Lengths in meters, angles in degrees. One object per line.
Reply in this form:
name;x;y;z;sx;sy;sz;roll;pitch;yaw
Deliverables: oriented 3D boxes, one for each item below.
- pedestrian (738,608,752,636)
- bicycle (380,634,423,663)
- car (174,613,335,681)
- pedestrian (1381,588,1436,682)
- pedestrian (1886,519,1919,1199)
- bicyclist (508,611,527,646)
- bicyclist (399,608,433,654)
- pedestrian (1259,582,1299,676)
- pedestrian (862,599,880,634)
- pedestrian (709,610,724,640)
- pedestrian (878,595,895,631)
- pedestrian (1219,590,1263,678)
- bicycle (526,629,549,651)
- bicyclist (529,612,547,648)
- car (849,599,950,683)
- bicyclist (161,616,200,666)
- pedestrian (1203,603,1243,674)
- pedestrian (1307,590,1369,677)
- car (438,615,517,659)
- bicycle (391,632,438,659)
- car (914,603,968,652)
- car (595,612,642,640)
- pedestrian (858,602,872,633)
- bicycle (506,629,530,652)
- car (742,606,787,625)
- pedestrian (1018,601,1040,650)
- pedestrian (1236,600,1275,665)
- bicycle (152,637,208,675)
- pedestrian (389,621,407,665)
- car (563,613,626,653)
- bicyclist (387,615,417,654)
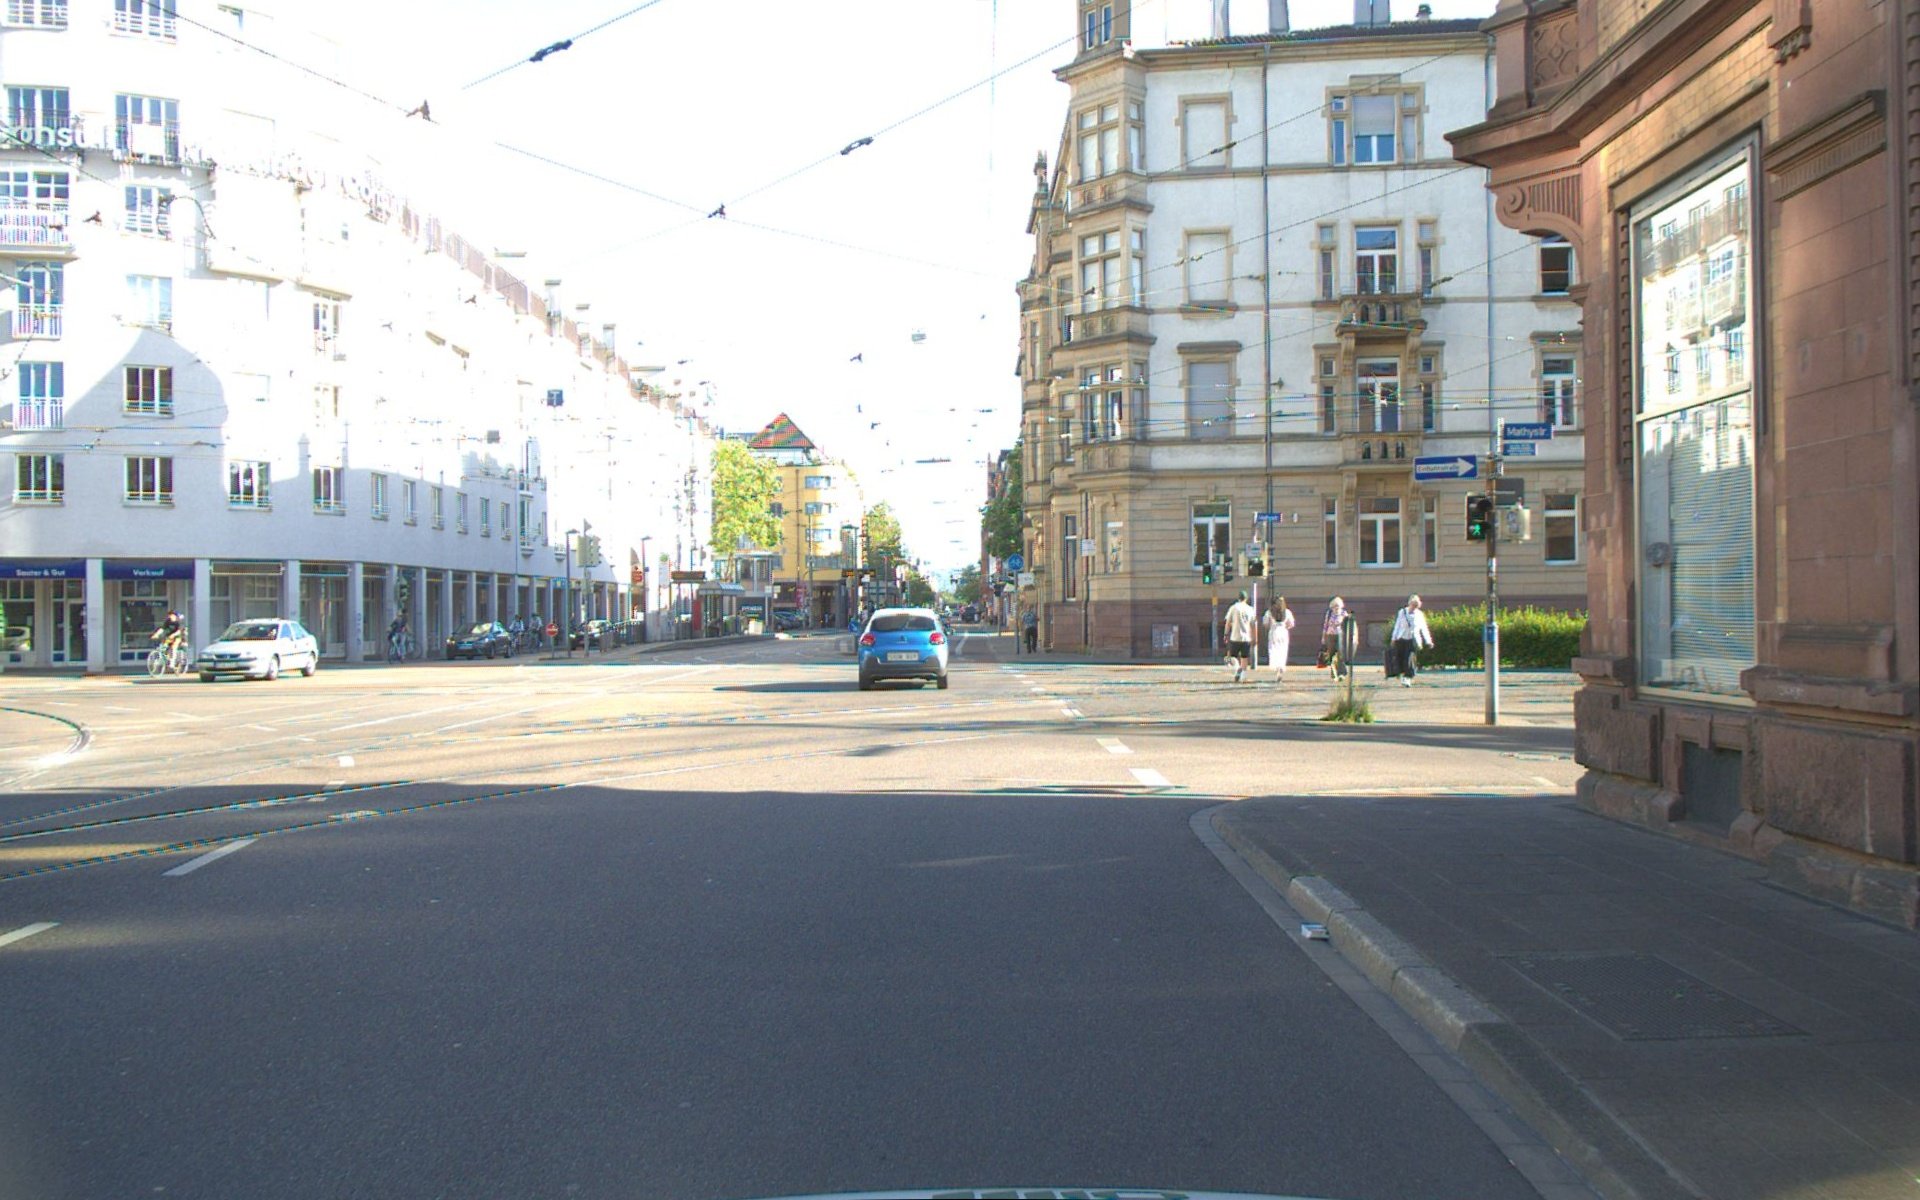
pedestrian;-12.215;1.262;93.968;0.716;1.586;0.743;0;0;-1
bicycle;-19.261;1.675;57.115;0.581;0.989;1.856;-1;-1;10
car;-16.952;1.089;40.006;1.953;1.477;4.649;-1;0;-1
pedestrian;8.135;0.641;30.004;0.903;1.661;1.010;-1;-2;15
pedestrian;2.651;0.620;3.705;0.669;1.635;0.728;-1;-1;-14
bicyclist;-19.348;1.268;72.328;0.576;1.514;0.927;-1;-2;-2
bicyclist;-20.991;1.188;63.805;0.708;1.725;1.028;-1;-1;28
pedestrian;6.132;0.555;31.778;0.630;1.776;0.705;0;-2;22
pedestrian;-4.644;0.865;86.092;0.705;1.808;0.563;-1;-1;36
pedestrian;-13.054;1.339;88.700;0.716;1.554;0.743;0;0;-1
pedestrian;-3.606;0.647;81.084;0.623;1.727;0.934;1;-2;8
pedestrian;5.431;0.660;31.911;0.686;1.684;0.632;-2;-2;22
bicycle;-19.450;1.827;76.215;0.582;0.989;2.046;-1;-1;-2
bicyclist;-19.428;1.376;76.133;0.576;1.613;0.895;-1;-2;-2
car;-1.102;0.747;31.608;1.744;1.476;3.654;1;0;0
bicyclist;-20.735;1.085;44.013;0.576;1.308;0.927;-1;-2;1
pedestrian;6.261;0.917;39.449;0.902;1.661;0.942;-1;-2;9
pedestrian;7.405;0.657;32.393;0.905;1.661;0.939;-2;-2;32
car;-18.439;1.421;63.396;1.953;1.624;3.998;-1;-1;-2
bicycle;-20.995;1.743;63.629;0.663;0.997;1.759;-1;-1;27
car;-0.686;1.076;63.681;1.952;1.773;4.000;1;-1;0
car;-18.777;1.419;91.030;1.693;1.541;4.404;0;-1;-1
pedestrian;-4.917;0.899;85.593;0.575;1.589;0.468;-1;-1;36
bicycle;-19.351;1.778;72.484;0.582;0.989;2.011;-1;-1;-2
car;-17.973;1.454;152.089;3.907;1.704;1.956;0;0;-3
pedestrian;2.558;0.937;61.415;0.764;1.780;1.093;0;1;-2
pedestrian;7.203;0.789;40.295;0.621;1.564;0.939;-2;-2;32
bicycle;-20.717;1.487;43.963;0.581;0.989;1.818;-1;-1;1
pedestrian;-20.421;1.559;60.108;0.438;1.561;0.675;-1;1;-36
car;-18.276;1.626;82.836;2.182;1.944;4.608;0;-1;-1
bicyclist;-19.280;1.187;57.113;0.576;1.308;0.993;-1;-2;9
